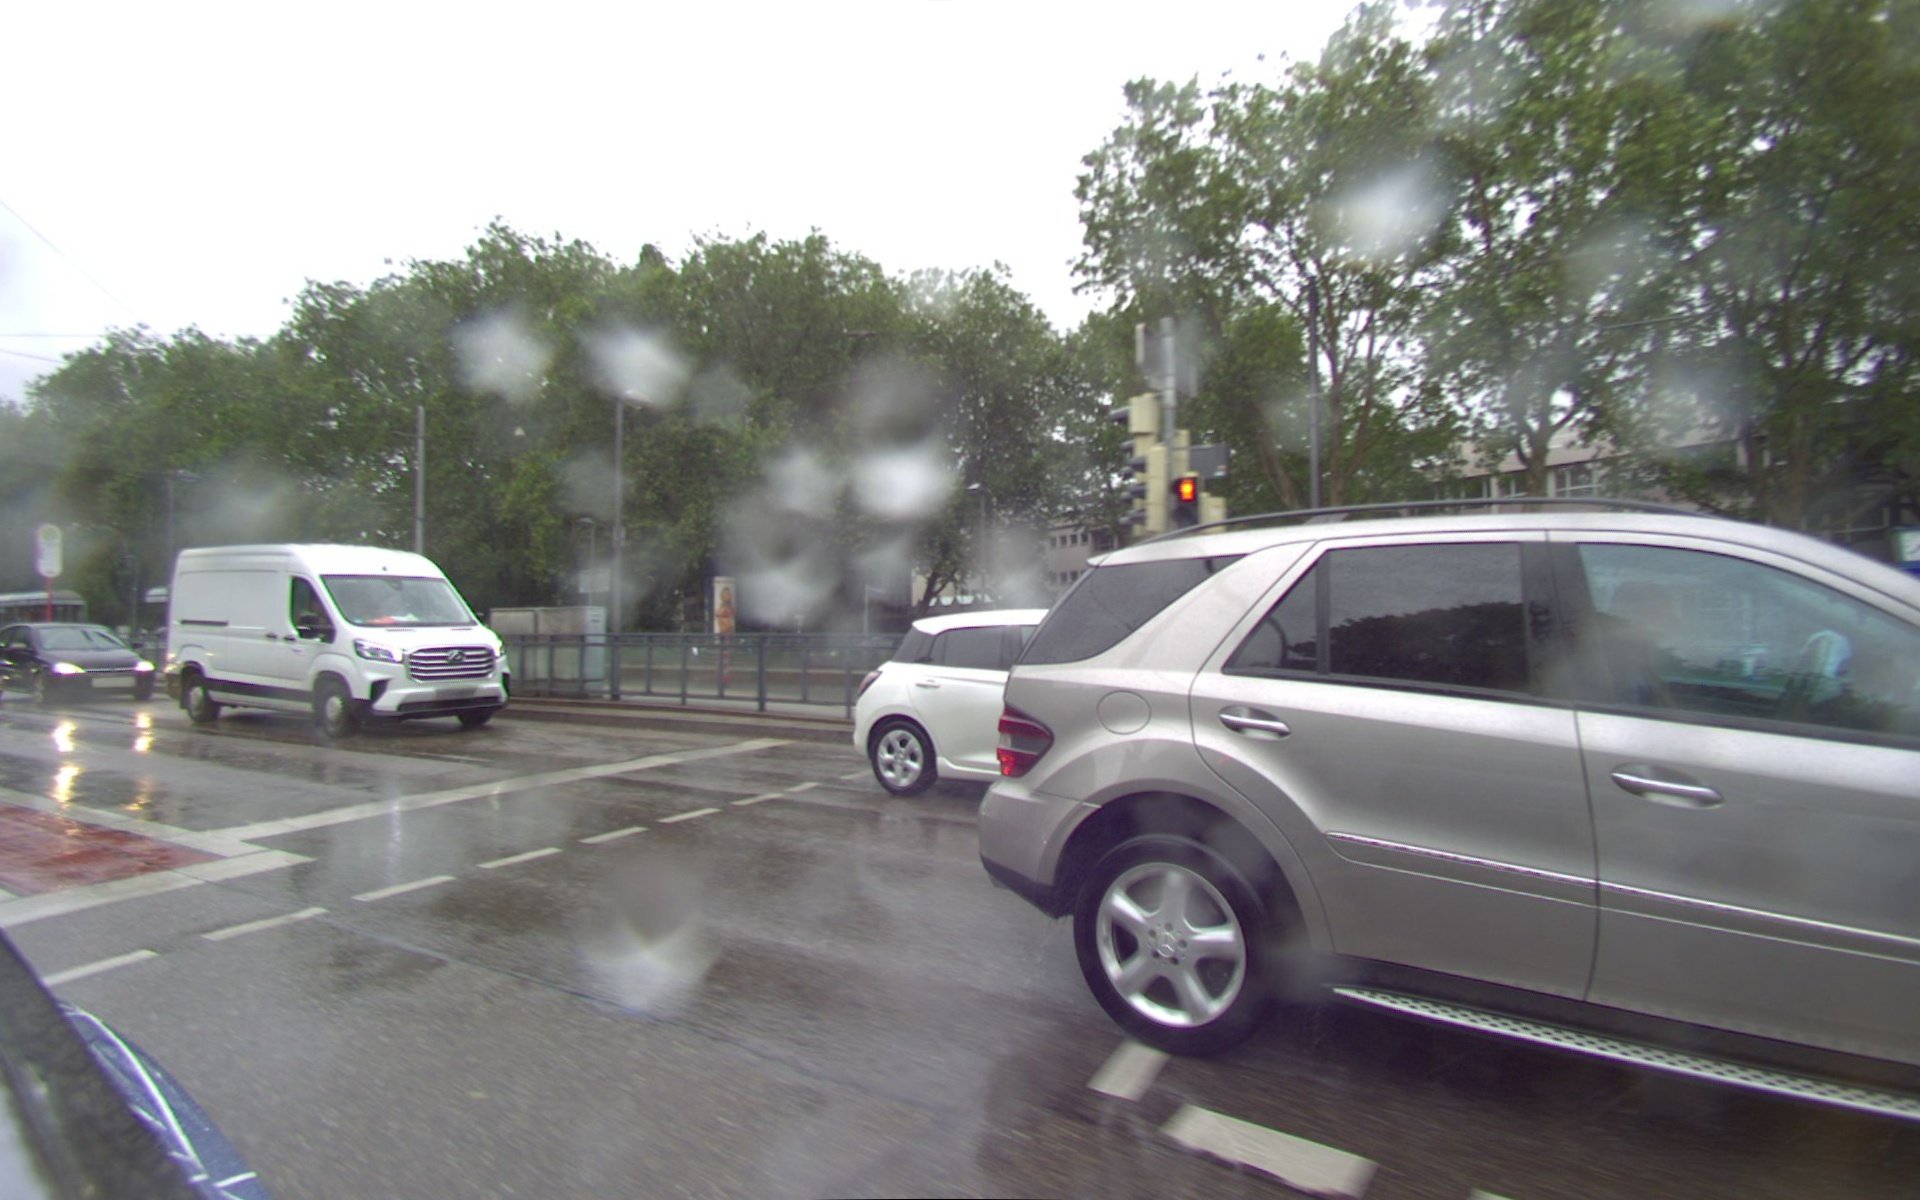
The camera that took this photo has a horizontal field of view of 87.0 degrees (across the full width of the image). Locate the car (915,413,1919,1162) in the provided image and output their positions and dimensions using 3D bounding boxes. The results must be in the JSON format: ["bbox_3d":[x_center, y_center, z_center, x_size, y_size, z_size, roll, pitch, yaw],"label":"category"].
[{"bbox_3d":[2.302,0.436,3.272,4.666,1.659,1.893,-2,-2,33],"label":"car"}]

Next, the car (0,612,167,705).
[{"bbox_3d":[-16.706,1.060,18.665,4.539,1.525,1.769,-2,-2,31],"label":"car"}]

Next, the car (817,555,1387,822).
[{"bbox_3d":[1.001,0.618,7.961,4.062,1.599,1.787,-3,-2,34],"label":"car"}]

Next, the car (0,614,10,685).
[{"bbox_3d":[-24.551,1.225,24.152,4.235,1.647,1.828,-3,-2,34],"label":"car"}]

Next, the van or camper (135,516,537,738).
[{"bbox_3d":[-8.644,0.415,13.843,5.947,2.490,2.160,-2,-2,30],"label":"van or camper"}]
